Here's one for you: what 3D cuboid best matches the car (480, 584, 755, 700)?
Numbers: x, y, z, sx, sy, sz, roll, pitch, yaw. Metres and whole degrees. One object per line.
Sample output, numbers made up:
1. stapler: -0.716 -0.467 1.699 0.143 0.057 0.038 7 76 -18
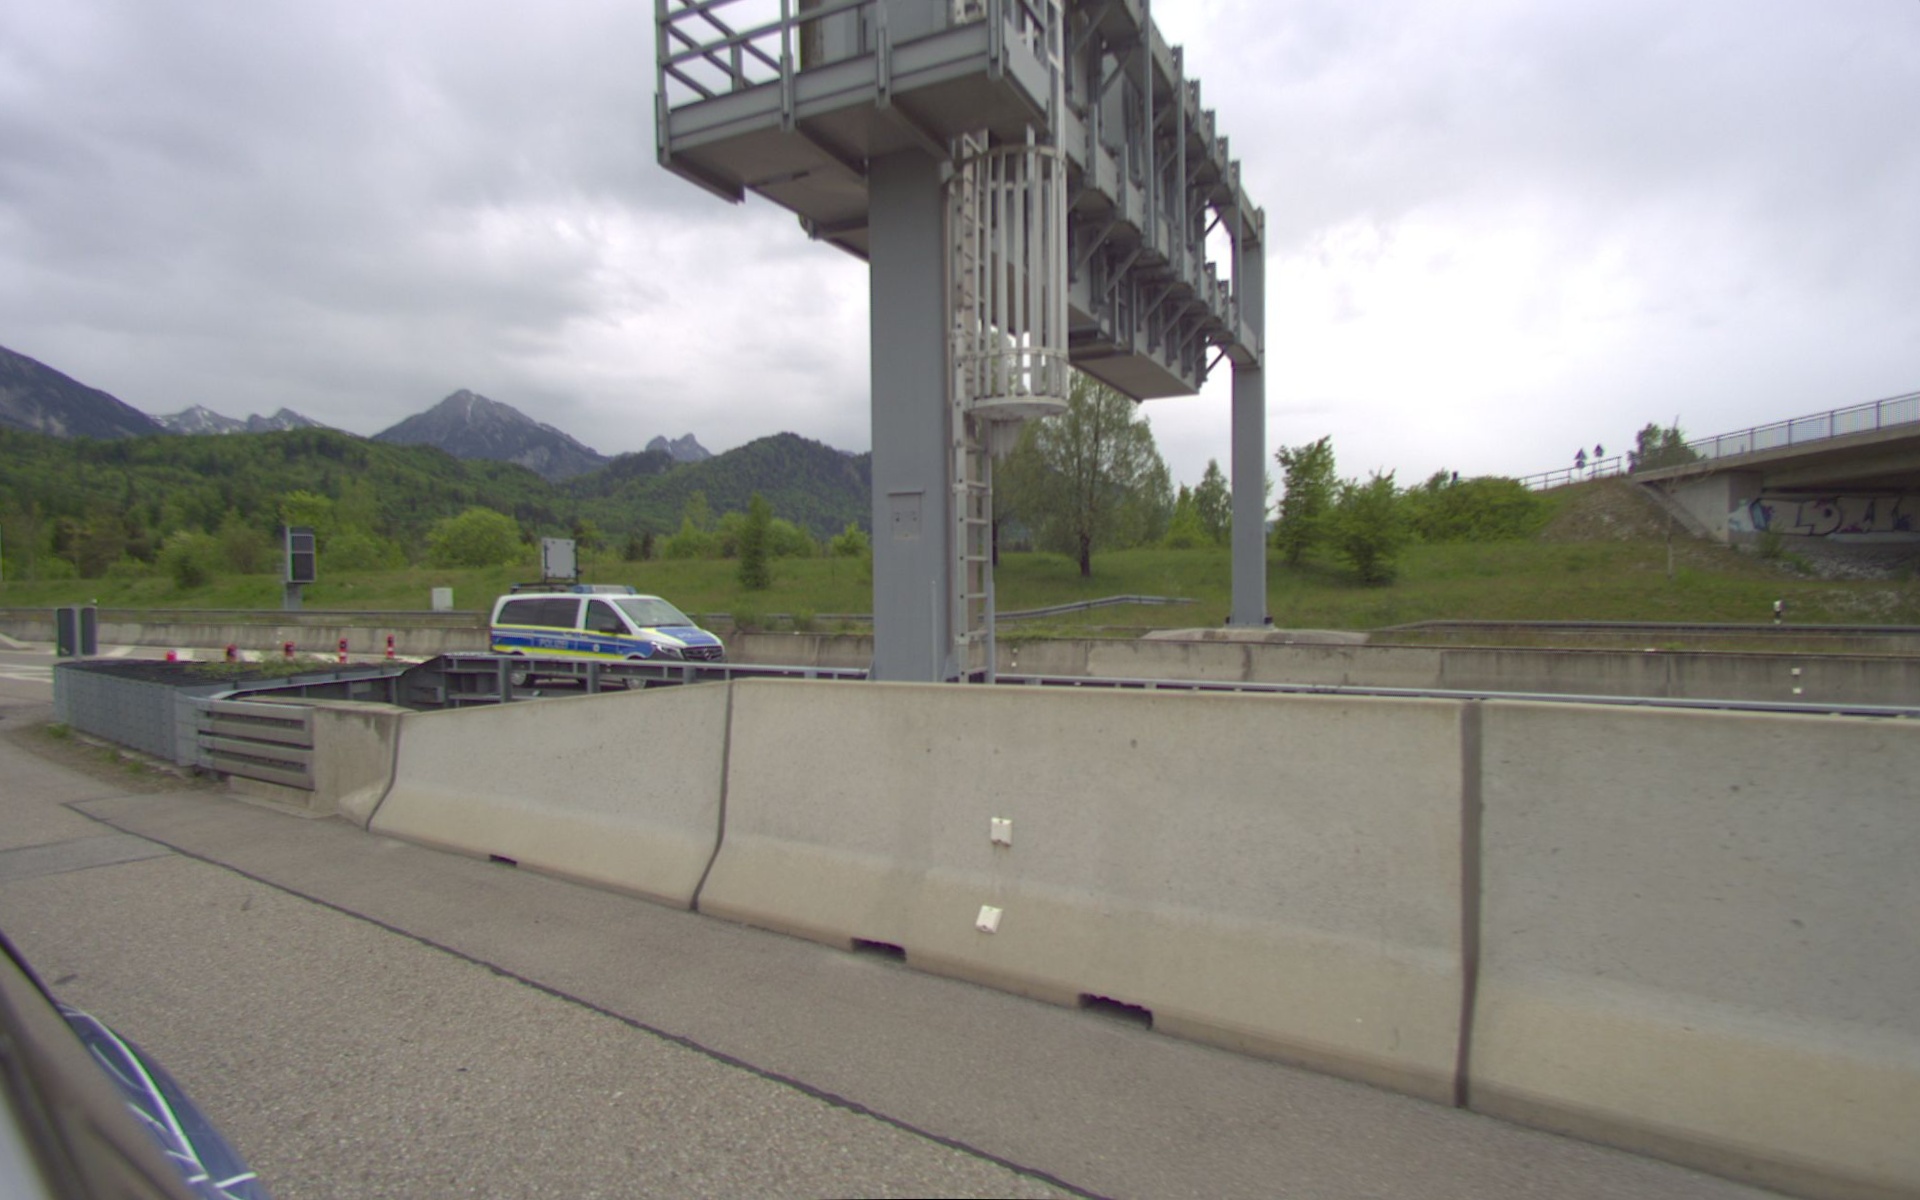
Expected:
1. car: -6.723 0.732 19.819 5.023 2.029 2.273 0 0 27
